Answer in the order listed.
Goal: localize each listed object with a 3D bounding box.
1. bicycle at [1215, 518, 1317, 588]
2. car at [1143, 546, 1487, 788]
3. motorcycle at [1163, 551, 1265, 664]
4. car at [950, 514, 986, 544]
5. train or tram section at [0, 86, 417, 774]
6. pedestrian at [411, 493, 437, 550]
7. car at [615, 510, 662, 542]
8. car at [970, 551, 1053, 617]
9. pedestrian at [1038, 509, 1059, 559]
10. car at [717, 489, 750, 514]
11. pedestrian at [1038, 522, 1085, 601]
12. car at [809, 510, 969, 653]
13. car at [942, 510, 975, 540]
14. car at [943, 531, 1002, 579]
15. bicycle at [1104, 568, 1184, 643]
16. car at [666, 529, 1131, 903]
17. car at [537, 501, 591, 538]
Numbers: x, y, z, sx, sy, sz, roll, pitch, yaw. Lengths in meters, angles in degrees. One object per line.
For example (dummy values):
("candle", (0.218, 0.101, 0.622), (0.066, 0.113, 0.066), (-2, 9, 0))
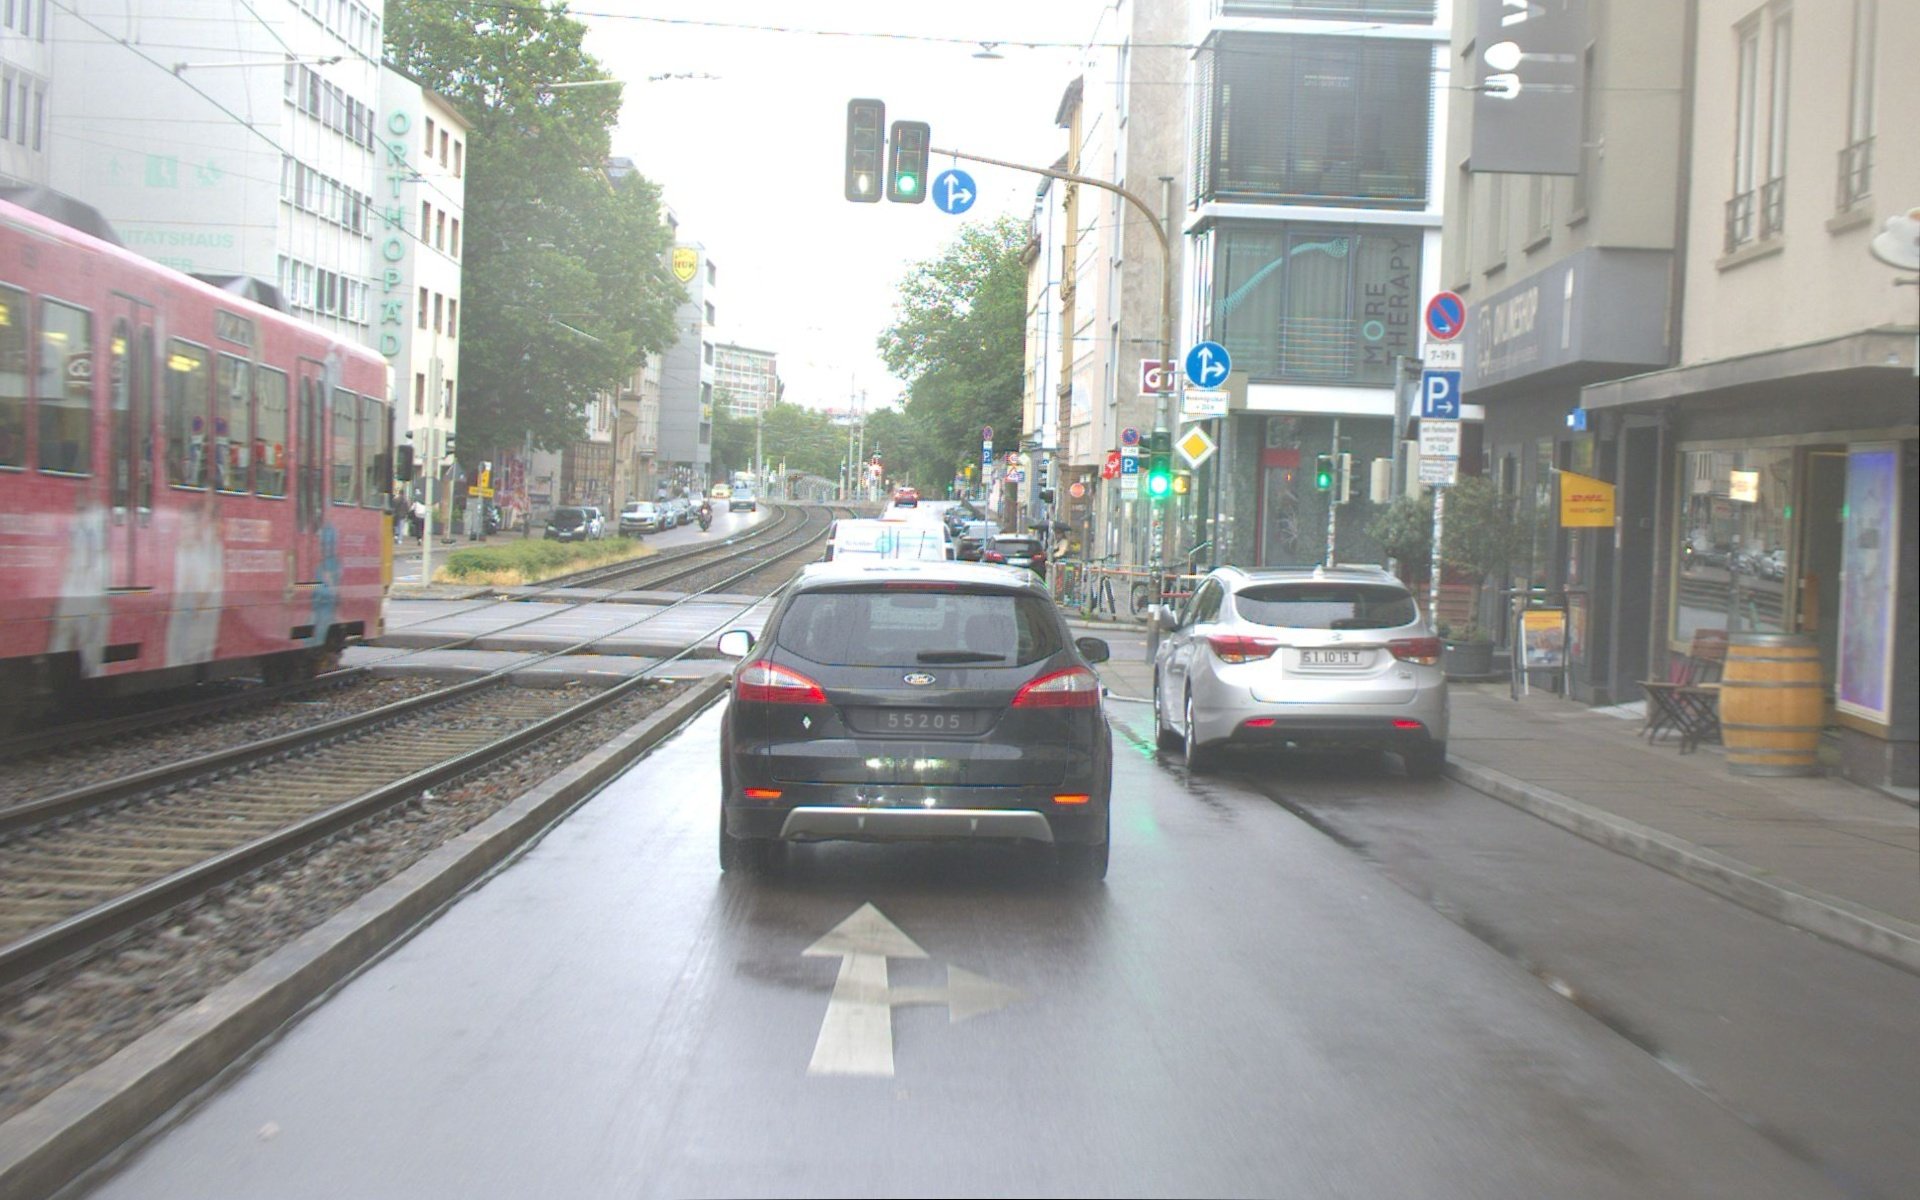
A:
("bicycle", (5.321, -0.825, 59.892), (0.576, 1.153, 1.956), (1, 2, -37))
("car", (2.528, 0.418, 25.605), (2.024, 1.588, 4.621), (1, 1, 0))
("motorcycle", (3.326, 0.094, 45.086), (1.129, 1.456, 0.684), (0, 1, -37))
("car", (0.397, -3.772, 182.423), (1.738, 1.484, 4.001), (2, 2, -2))
("train or tram section", (-7.207, -1.107, 27.685), (2.902, 4.036, 18.769), (1, 1, -1))
("pedestrian", (-17.974, -2.625, 115.261), (0.678, 1.889, 0.743), (2, 1, -1))
("car", (-16.291, -3.776, 174.180), (1.993, 1.514, 4.436), (2, 2, -1))
("car", (1.292, -0.427, 87.593), (1.993, 1.588, 4.271), (1, 1, 0))
("pedestrian", (3.625, -2.710, 140.906), (0.736, 2.006, 0.821), (2, 2, -2))
("car", (-15.661, -6.798, 237.715), (1.993, 1.514, 4.444), (2, 0, -1))
("pedestrian", (2.049, -0.774, 69.541), (0.659, 1.577, 0.780), (1, 1, -22))
("car", (-0.916, -0.279, 46.726), (1.993, 1.810, 4.271), (1, 1, 1))
("car", (-0.076, -4.100, 187.144), (1.642, 1.510, 4.040), (2, 2, -2))
("car", (0.411, -1.580, 119.316), (1.993, 1.588, 4.572), (1, 1, 0))
("bicycle", (3.278, 0.092, 61.407), (0.497, 1.254, 1.957), (2, 1, -25))
("car", (-0.281, 0.468, 17.102), (1.993, 1.588, 4.271), (1, 1, 0))
("car", (-16.231, -3.296, 141.046), (1.744, 1.463, 4.220), (1, 2, -1))
